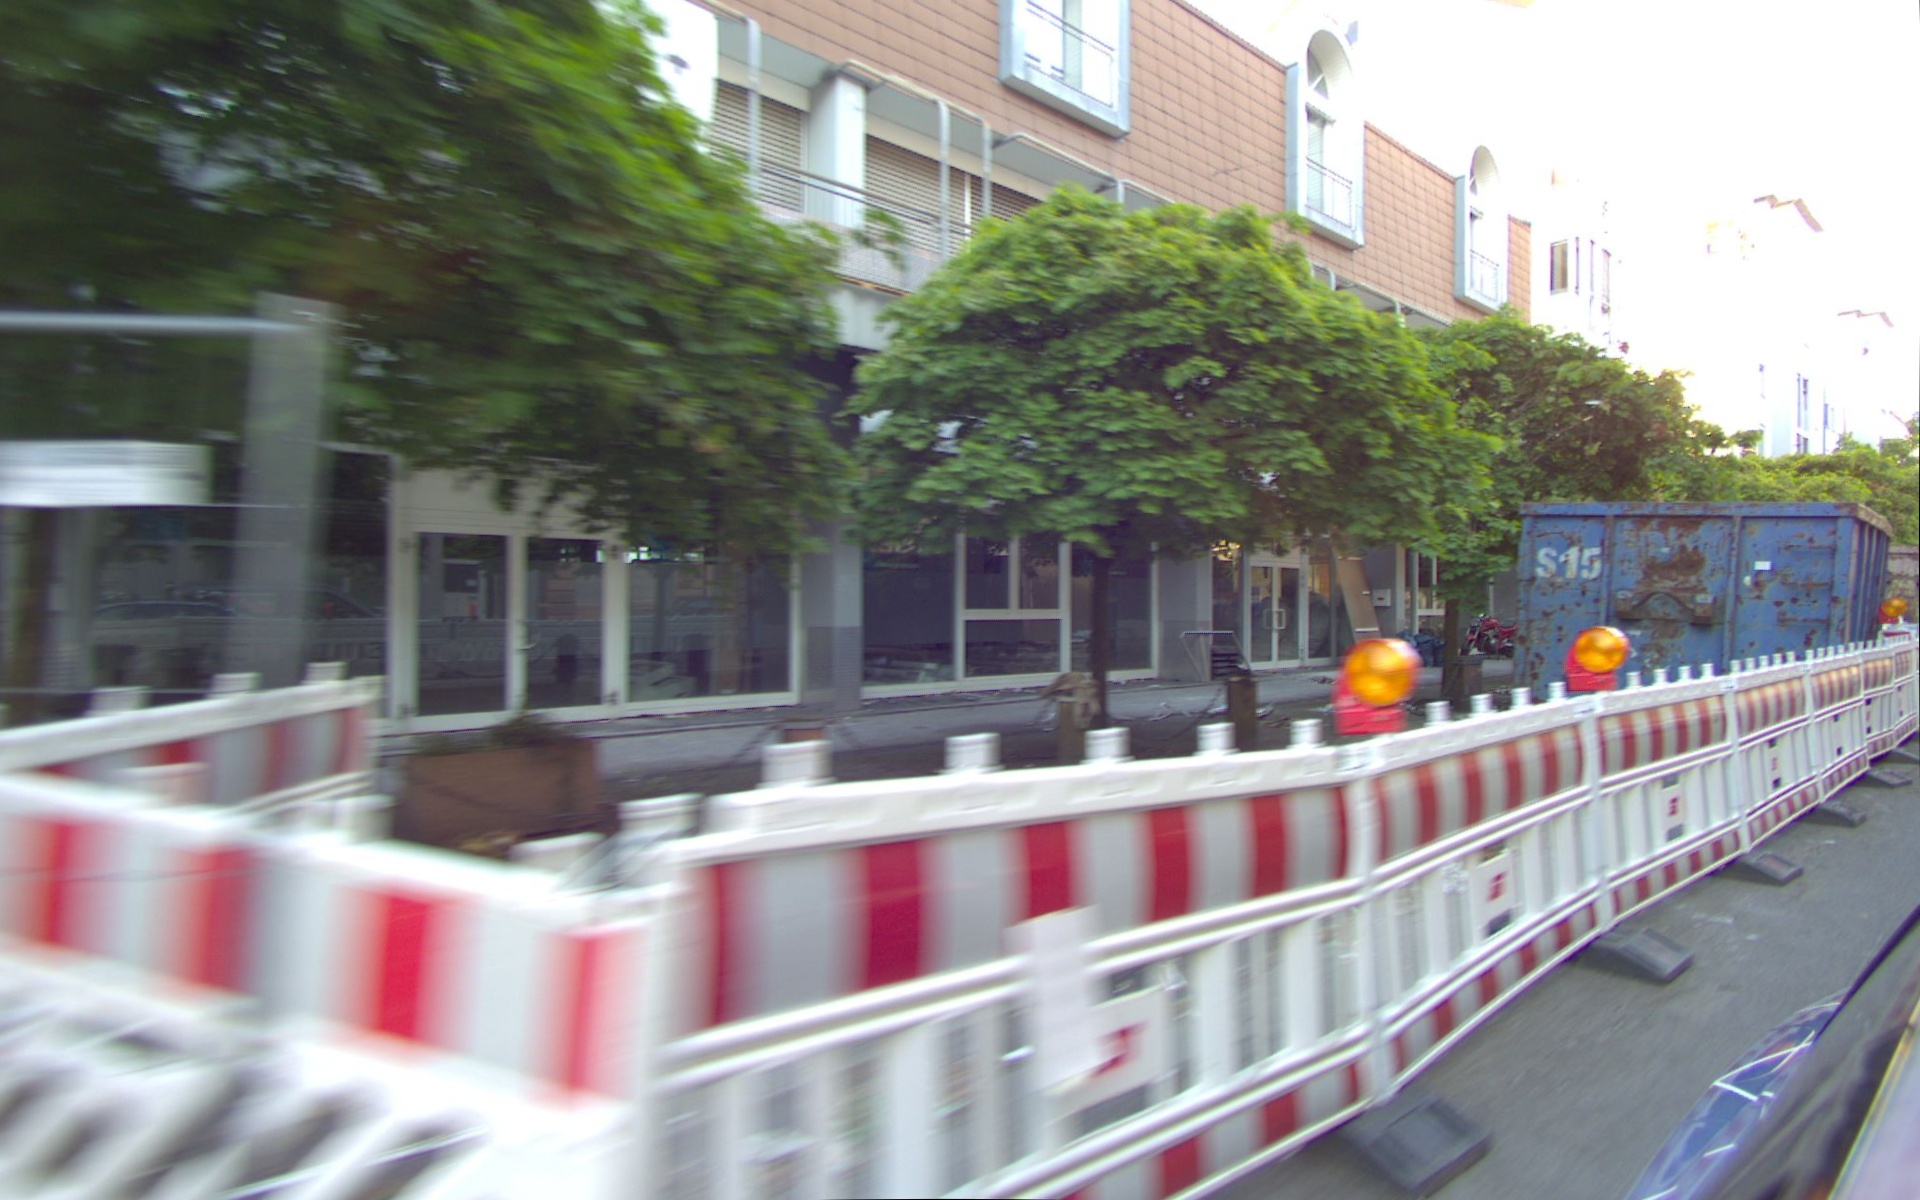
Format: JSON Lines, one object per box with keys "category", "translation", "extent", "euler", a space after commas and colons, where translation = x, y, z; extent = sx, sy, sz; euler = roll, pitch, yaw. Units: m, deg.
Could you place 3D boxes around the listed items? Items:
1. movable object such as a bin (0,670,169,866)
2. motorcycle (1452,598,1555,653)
{"category": "movable object such as a bin", "translation": [-5.037, 0.921, 5.828], "extent": [0.701, 0.988, 0.556], "euler": [0, -2, -45]}
{"category": "motorcycle", "translation": [13.059, 0.591, 24.312], "extent": [2.405, 1.238, 0.874], "euler": [-1, 1, -22]}
